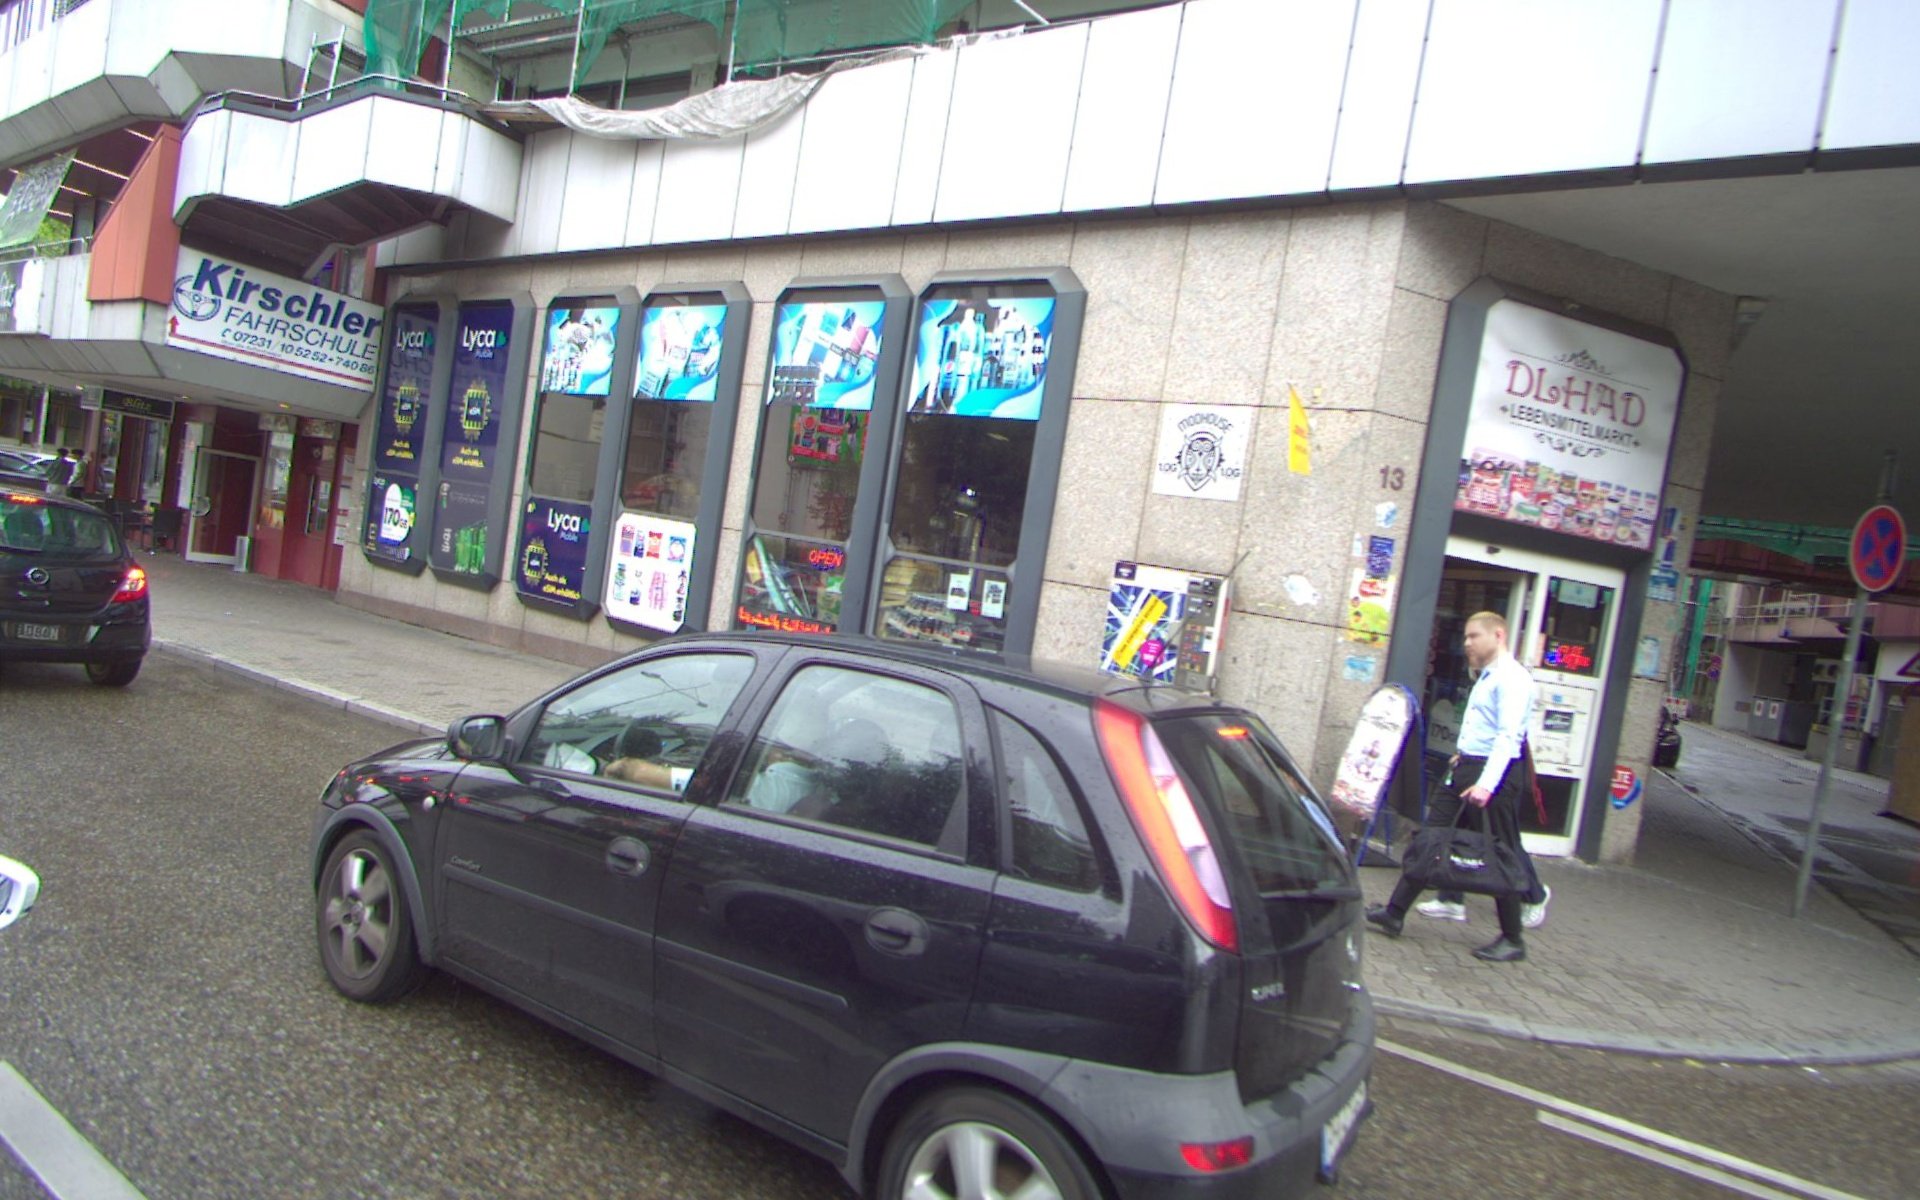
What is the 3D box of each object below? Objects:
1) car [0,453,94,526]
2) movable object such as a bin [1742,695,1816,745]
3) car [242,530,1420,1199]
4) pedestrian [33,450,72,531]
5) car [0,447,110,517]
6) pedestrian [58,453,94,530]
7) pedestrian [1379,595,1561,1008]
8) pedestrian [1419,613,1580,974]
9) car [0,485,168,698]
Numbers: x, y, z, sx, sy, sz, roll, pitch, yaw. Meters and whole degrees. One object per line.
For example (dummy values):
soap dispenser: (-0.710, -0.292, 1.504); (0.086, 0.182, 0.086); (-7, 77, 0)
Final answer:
car: (-24.412, -2.947, 25.037); (1.593, 1.503, 4.005); (6, -2, 16)
movable object such as a bin: (39.057, 5.686, 48.054); (1.456, 2.115, 3.842); (6, -2, 22)
car: (-0.601, 0.746, 3.359); (3.563, 1.446, 1.609); (8, -1, 33)
pedestrian: (-19.843, -2.397, 22.001); (0.443, 1.704, 0.426); (6, 1, 30)
car: (-27.102, -3.500, 28.765); (1.593, 1.503, 3.911); (6, -2, 19)
pedestrian: (-19.855, -2.438, 22.596); (0.496, 1.660, 0.396); (6, 1, 32)
pedestrian: (2.729, 1.009, 5.360); (0.629, 1.957, 0.737); (6, -1, 31)
pedestrian: (3.261, 1.112, 6.076); (0.629, 1.957, 0.737); (6, -1, 31)
car: (-8.237, -0.262, 8.028); (3.777, 1.446, 1.620); (8, -1, 30)
